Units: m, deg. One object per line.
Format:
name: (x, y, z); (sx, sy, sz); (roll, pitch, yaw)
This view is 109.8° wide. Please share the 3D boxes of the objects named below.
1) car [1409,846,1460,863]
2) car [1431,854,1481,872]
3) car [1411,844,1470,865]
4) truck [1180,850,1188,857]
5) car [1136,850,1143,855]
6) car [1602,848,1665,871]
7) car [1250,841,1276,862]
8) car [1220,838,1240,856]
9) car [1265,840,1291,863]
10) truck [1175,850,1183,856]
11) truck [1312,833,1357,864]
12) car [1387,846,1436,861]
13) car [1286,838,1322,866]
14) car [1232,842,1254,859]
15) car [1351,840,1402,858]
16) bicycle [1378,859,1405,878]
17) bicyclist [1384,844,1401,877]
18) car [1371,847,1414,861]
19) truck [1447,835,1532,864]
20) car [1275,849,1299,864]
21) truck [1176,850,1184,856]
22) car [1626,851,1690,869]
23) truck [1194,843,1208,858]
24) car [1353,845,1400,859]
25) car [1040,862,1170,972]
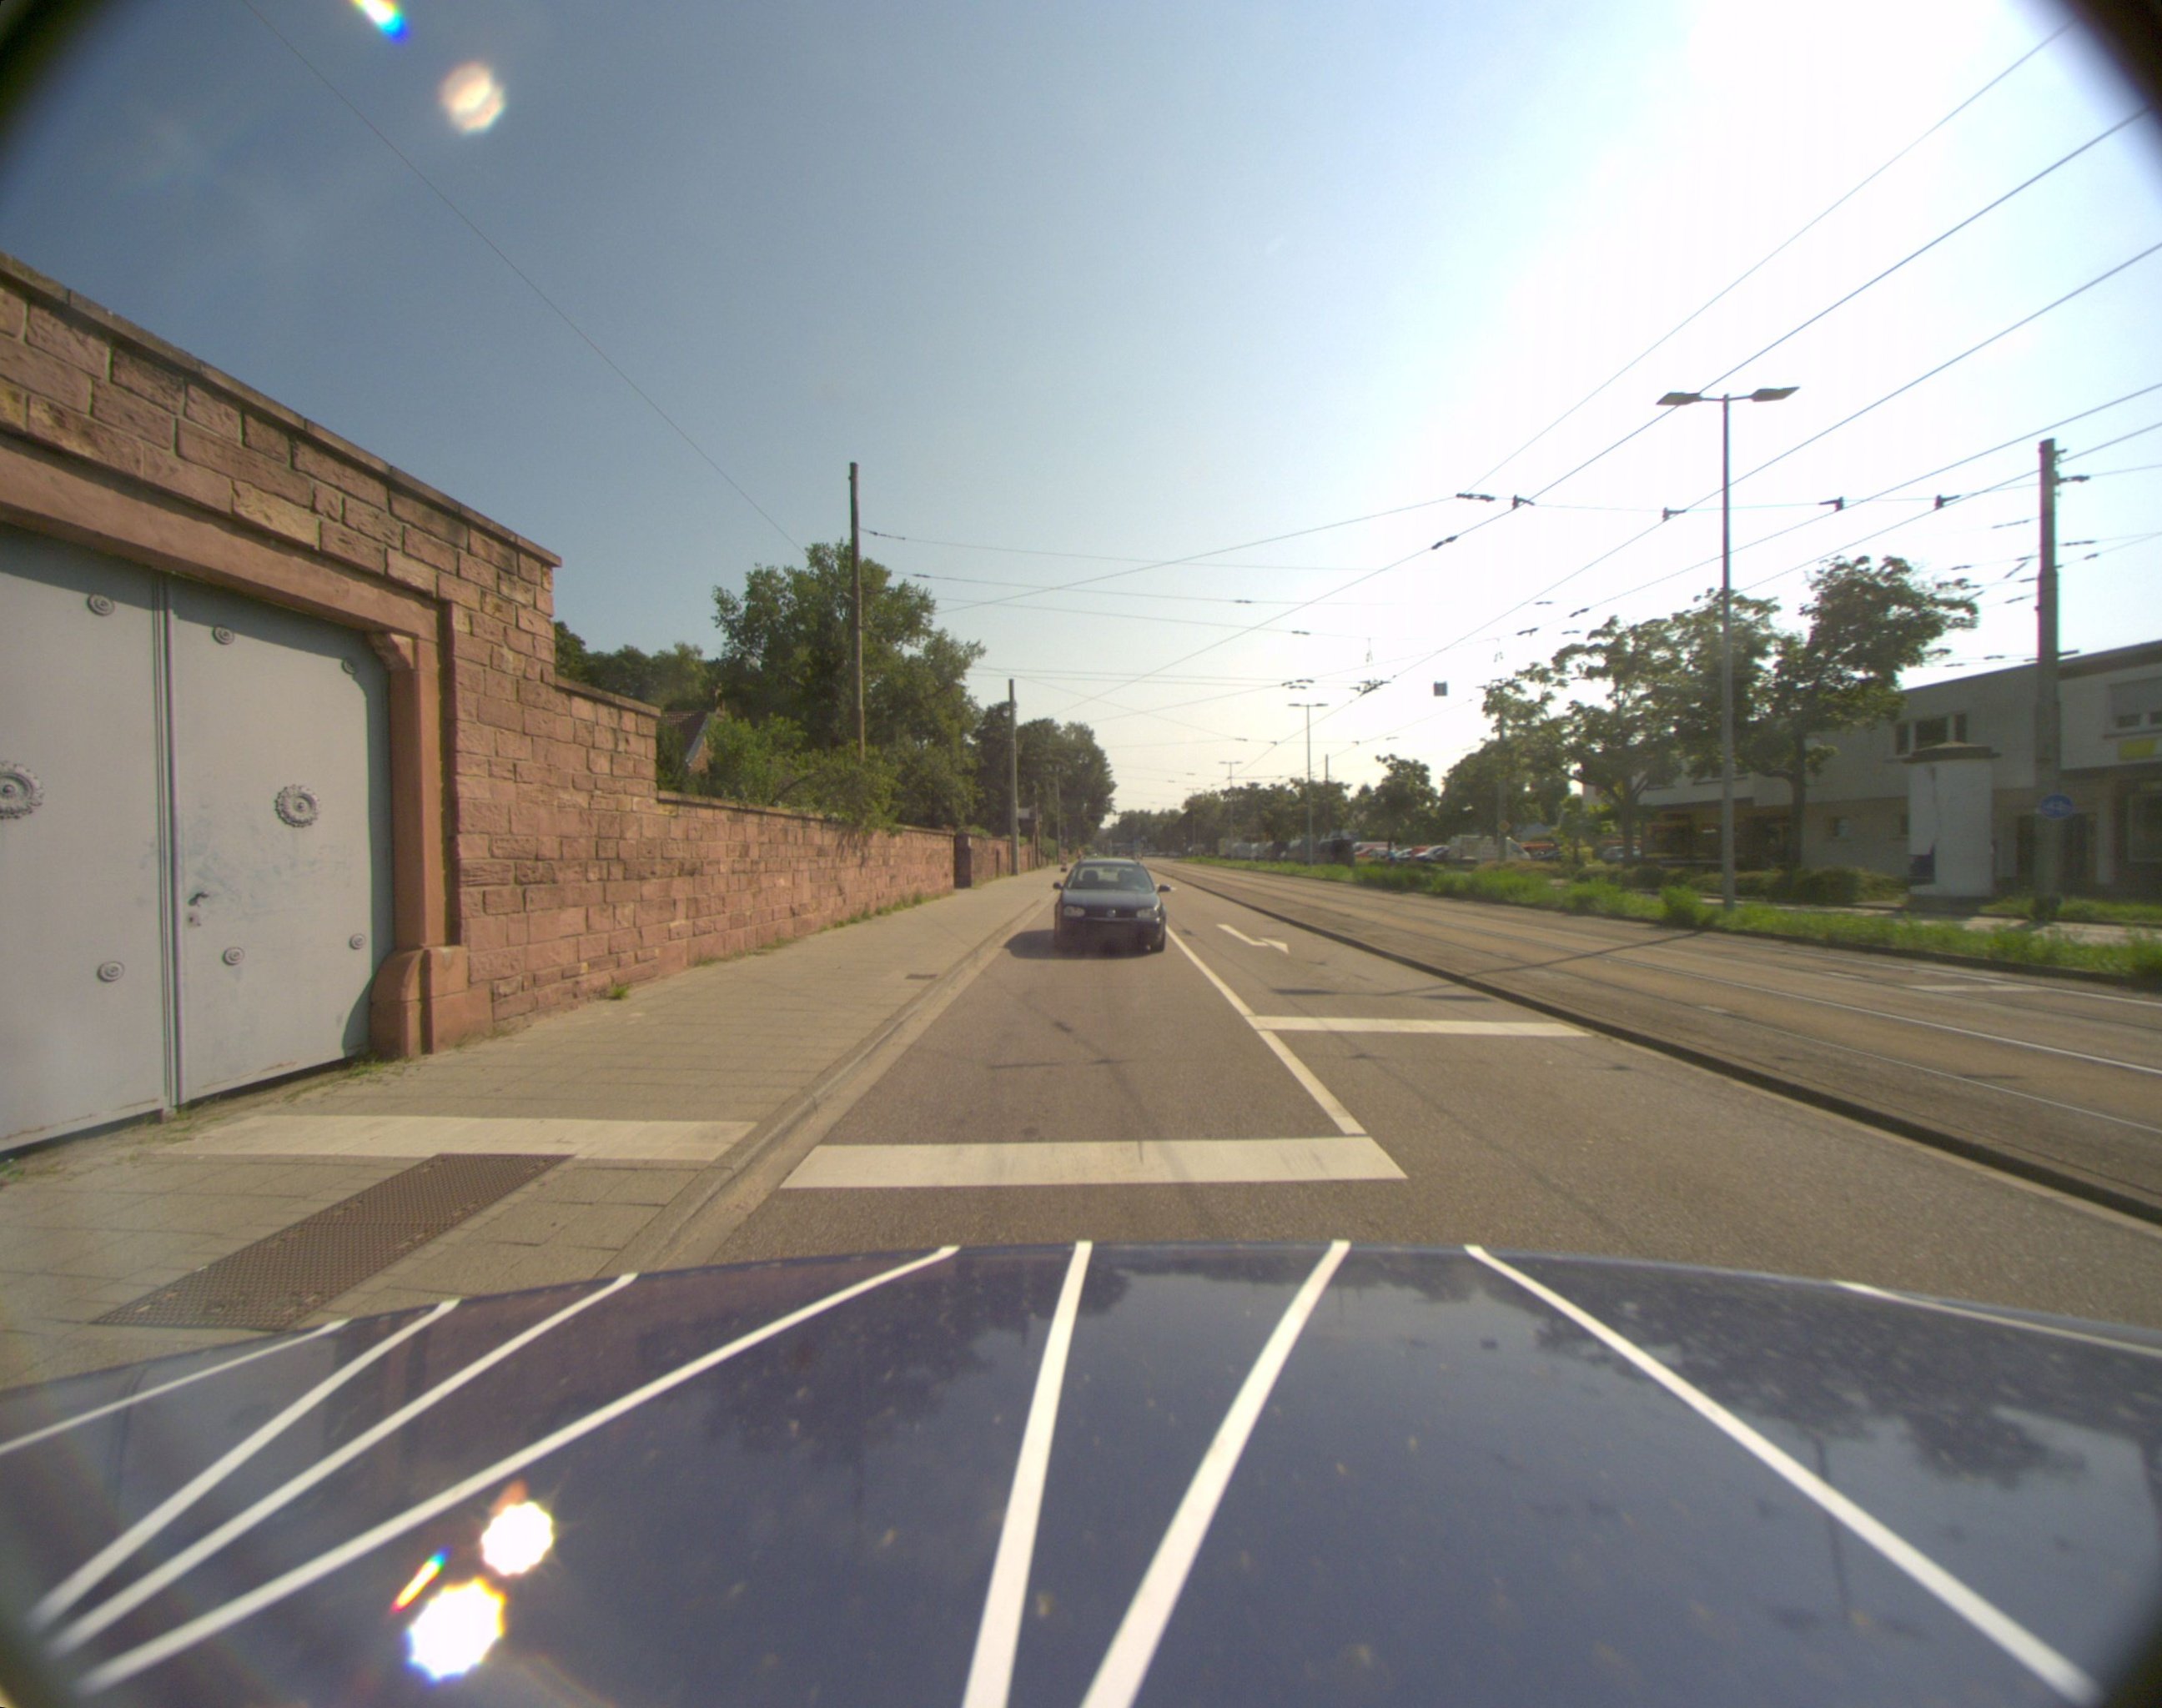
car: (32.972, 0.009, 70.930); (3.933, 1.510, 1.633); (1, 1, 1)
car: (32.269, 0.786, 65.422); (3.413, 1.418, 1.633); (1, 1, 1)
car: (32.273, 0.029, 68.278); (4.409, 1.774, 1.633); (1, 1, 1)
truck: (26.307, -0.043, 194.126); (1.691, 1.665, 3.655); (1, 1, 2)
car: (15.284, -0.396, 199.430); (1.726, 1.317, 4.000); (1, 1, 2)
car: (45.785, 0.462, 63.002); (3.810, 1.759, 1.759); (1, 1, 7)
car: (23.098, -0.348, 96.579); (2.137, 2.571, 5.631); (1, 1, 2)
car: (23.600, -1.102, 120.570); (2.129, 2.789, 7.231); (1, 1, 2)
car: (22.908, -0.331, 88.541); (1.826, 2.571, 5.911); (-1, 0, 3)
truck: (26.890, -0.329, 208.652); (1.691, 1.665, 3.655); (1, 1, 2)
truck: (21.990, -0.515, 66.151); (2.086, 2.533, 5.739); (1, 1, 1)
car: (32.801, -0.079, 75.480); (4.164, 1.455, 1.625); (1, 1, 6)
car: (22.293, -0.229, 76.221); (1.992, 2.571, 6.468); (-1, 1, 4)
car: (23.665, -0.566, 111.054); (2.148, 2.444, 4.831); (1, 1, 1)
car: (34.821, -0.590, 89.552); (5.198, 1.914, 2.052); (1, 1, 1)
bicycle: (19.552, 0.903, 47.893); (0.717, 1.085, 2.265); (1, 1, 0)
bicyclist: (19.582, 0.398, 47.790); (0.639, 2.052, 0.774); (1, 1, -1)
car: (33.314, 0.017, 81.338); (3.933, 1.441, 1.633); (1, 1, 1)
truck: (32.517, -0.395, 60.552); (5.503, 2.160, 2.259); (1, 1, 1)
car: (22.314, 0.253, 82.346); (1.748, 1.543, 3.834); (-1, 1, 4)
truck: (26.593, -0.214, 204.324); (1.691, 1.665, 3.655); (1, 1, 2)
car: (45.125, 0.451, 59.500); (3.712, 1.335, 1.492); (0, 1, 9)
truck: (25.897, -0.869, 163.812); (2.278, 3.104, 8.789); (1, 1, 5)
car: (33.551, -0.210, 86.445); (4.665, 1.441, 1.633); (1, 1, 1)
car: (0.431, 0.882, 12.394); (1.775, 1.416, 3.935); (0, 1, 3)
